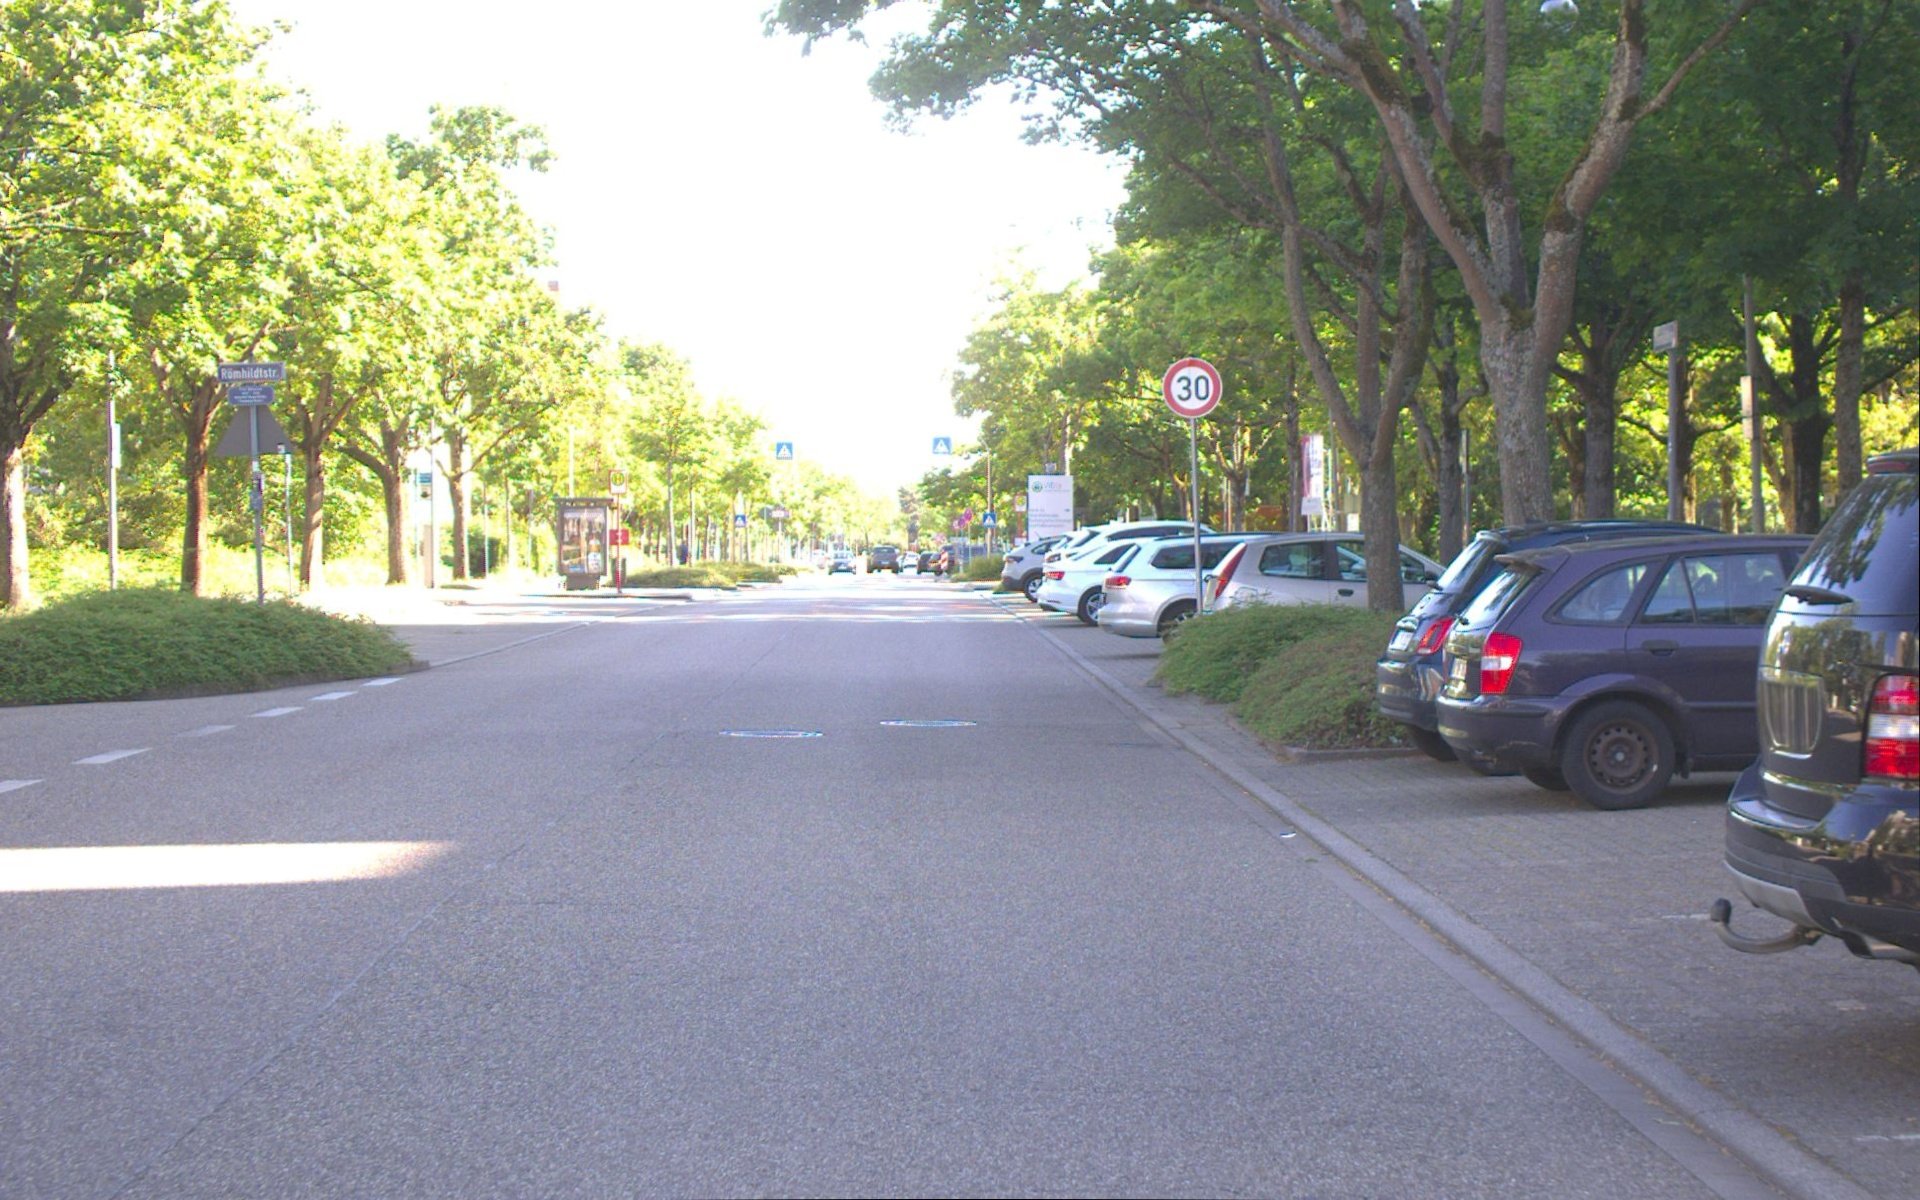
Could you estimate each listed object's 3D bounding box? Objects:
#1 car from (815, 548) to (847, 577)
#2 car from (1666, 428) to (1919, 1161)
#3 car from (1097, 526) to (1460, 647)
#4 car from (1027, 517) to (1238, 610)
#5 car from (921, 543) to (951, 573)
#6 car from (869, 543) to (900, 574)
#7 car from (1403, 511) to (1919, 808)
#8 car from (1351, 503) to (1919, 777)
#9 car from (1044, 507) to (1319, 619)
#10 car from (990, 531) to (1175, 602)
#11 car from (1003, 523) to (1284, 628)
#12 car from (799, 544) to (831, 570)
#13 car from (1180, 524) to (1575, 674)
[{"bbox_3d":[-7.997,-2.328,213.568,1.828,1.769,3.740,1,1,0],"label":"car"},{"bbox_3d":[4.447,0.390,9.349,4.587,1.773,2.000,-2,1,0],"label":"car"},{"bbox_3d":[3.832,-0.180,41.685,4.275,1.423,1.827,0,1,4],"label":"car"},{"bbox_3d":[3.146,-0.682,63.278,3.688,1.517,1.651,-3,1,-2],"label":"car"},{"bbox_3d":[-1.612,-2.868,233.006,1.993,2.007,4.000,1,1,-1],"label":"car"},{"bbox_3d":[-5.078,-2.799,230.754,1.993,2.007,4.000,1,1,0],"label":"car"},{"bbox_3d":[4.538,0.254,18.535,3.987,1.382,1.822,-3,1,0],"label":"car"},{"bbox_3d":[4.487,0.210,21.317,3.808,1.494,1.702,-2,1,-4],"label":"car"},{"bbox_3d":[3.727,-0.639,58.364,4.435,1.642,1.816,-3,1,-2],"label":"car"},{"bbox_3d":[2.825,-0.785,80.027,4.164,1.423,2.000,-3,1,-1],"label":"car"},{"bbox_3d":[2.938,-0.408,55.661,4.342,1.484,1.738,-2,1,-2],"label":"car"},{"bbox_3d":[-9.913,-2.948,235.303,1.993,1.795,4.000,1,1,0],"label":"car"},{"bbox_3d":[4.433,-0.032,36.943,3.987,1.446,1.717,-2,1,0],"label":"car"}]
